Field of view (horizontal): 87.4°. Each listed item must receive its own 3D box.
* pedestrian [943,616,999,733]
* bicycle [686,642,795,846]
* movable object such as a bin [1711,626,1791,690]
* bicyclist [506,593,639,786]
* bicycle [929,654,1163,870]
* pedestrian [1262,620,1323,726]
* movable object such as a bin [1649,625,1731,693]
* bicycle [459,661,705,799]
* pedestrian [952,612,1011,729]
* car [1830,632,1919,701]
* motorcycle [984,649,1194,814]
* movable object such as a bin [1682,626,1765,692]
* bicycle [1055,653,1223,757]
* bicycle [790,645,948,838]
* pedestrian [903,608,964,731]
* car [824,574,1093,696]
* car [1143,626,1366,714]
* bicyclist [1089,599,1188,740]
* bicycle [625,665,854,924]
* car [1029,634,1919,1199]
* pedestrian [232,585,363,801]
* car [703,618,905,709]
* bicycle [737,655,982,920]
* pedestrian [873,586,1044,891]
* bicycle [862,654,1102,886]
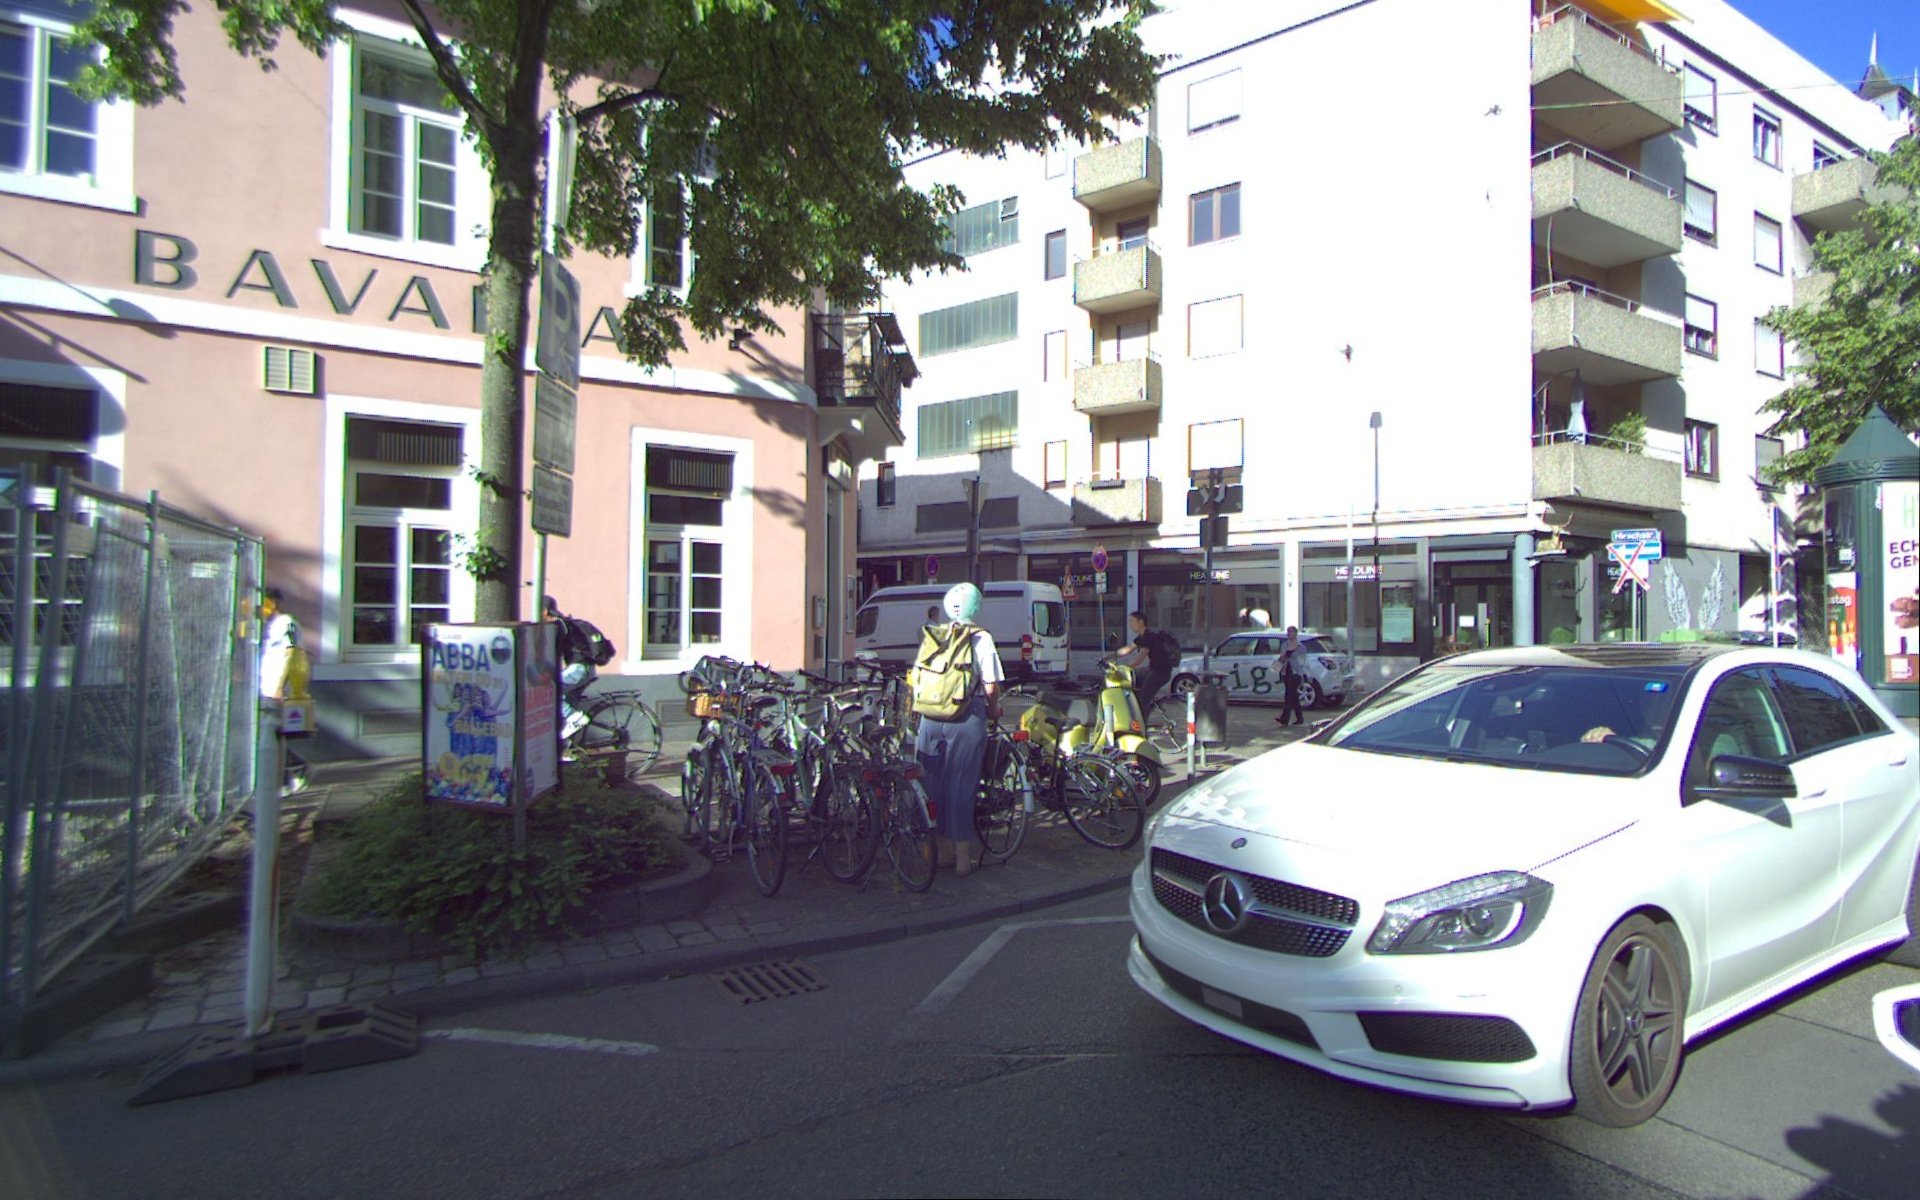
[{"bbox_3d":[0.155,1.085,14.960,0.646,1.689,0.654,0,-2,-20],"label":"pedestrian"},{"bbox_3d":[-1.676,0.974,7.475,0.591,1.269,1.786,1,-1,-18],"label":"bicycle"},{"bbox_3d":[19.315,1.396,24.533,1.300,1.504,1.165,1,-2,-32],"label":"movable object such as a bin"},{"bbox_3d":[-3.362,0.749,8.765,1.025,1.581,0.765,1,-2,-21],"label":"bicyclist"},{"bbox_3d":[0.551,1.063,7.206,0.595,1.269,1.841,1,-1,-37],"label":"bicycle"},{"bbox_3d":[5.378,1.163,16.293,0.677,1.664,0.773,0,-1,-5],"label":"pedestrian"},{"bbox_3d":[16.695,1.321,22.972,1.222,1.504,1.134,1,-2,-32],"label":"movable object such as a bin"},{"bbox_3d":[-3.271,1.087,8.812,1.926,1.073,0.765,1,-2,-21],"label":"bicycle"},{"bbox_3d":[0.334,1.082,15.680,0.651,1.783,0.649,1,-2,-38],"label":"pedestrian"},{"bbox_3d":[20.769,1.368,20.629,1.977,1.408,3.967,1,-2,-31],"label":"car"},{"bbox_3d":[1.110,1.104,9.023,0.751,1.246,1.836,1,-1,-41],"label":"motorcycle"},{"bbox_3d":[17.965,1.369,23.649,1.300,1.504,1.165,1,-2,-32],"label":"movable object such as a bin"},{"bbox_3d":[2.218,1.298,12.630,1.995,1.236,0.721,0,-2,2],"label":"bicycle"},{"bbox_3d":[-0.656,1.019,7.879,0.588,1.269,1.794,0,-1,17],"label":"bicycle"},{"bbox_3d":[-0.398,1.028,15.041,0.646,1.783,0.654,-1,-2,41],"label":"pedestrian"},{"bbox_3d":[-0.126,0.889,25.612,6.391,2.754,2.900,-1,-2,35],"label":"car"},{"bbox_3d":[5.989,1.380,20.612,3.939,1.631,1.991,-2,-3,39],"label":"car"},{"bbox_3d":[2.225,0.860,12.638,1.134,1.715,0.721,0,-1,2],"label":"bicyclist"},{"bbox_3d":[-1.358,1.026,5.908,0.595,1.186,1.841,1,-1,-37],"label":"bicycle"},{"bbox_3d":[2.588,0.893,4.356,4.360,1.454,1.793,1,-1,-32],"label":"car"},{"bbox_3d":[-5.398,0.734,8.230,0.803,1.675,0.608,1,-2,-27],"label":"pedestrian"},{"bbox_3d":[-3.285,1.260,20.883,3.937,1.718,1.992,-1,-2,37],"label":"car"},{"bbox_3d":[-0.674,1.008,6.051,0.595,1.269,1.841,1,-1,-37],"label":"bicycle"},{"bbox_3d":[0.006,0.788,6.211,0.780,1.730,0.766,0,0,27],"label":"pedestrian"},{"bbox_3d":[0.082,1.036,6.749,0.595,1.269,1.841,1,-1,-37],"label":"bicycle"}]
